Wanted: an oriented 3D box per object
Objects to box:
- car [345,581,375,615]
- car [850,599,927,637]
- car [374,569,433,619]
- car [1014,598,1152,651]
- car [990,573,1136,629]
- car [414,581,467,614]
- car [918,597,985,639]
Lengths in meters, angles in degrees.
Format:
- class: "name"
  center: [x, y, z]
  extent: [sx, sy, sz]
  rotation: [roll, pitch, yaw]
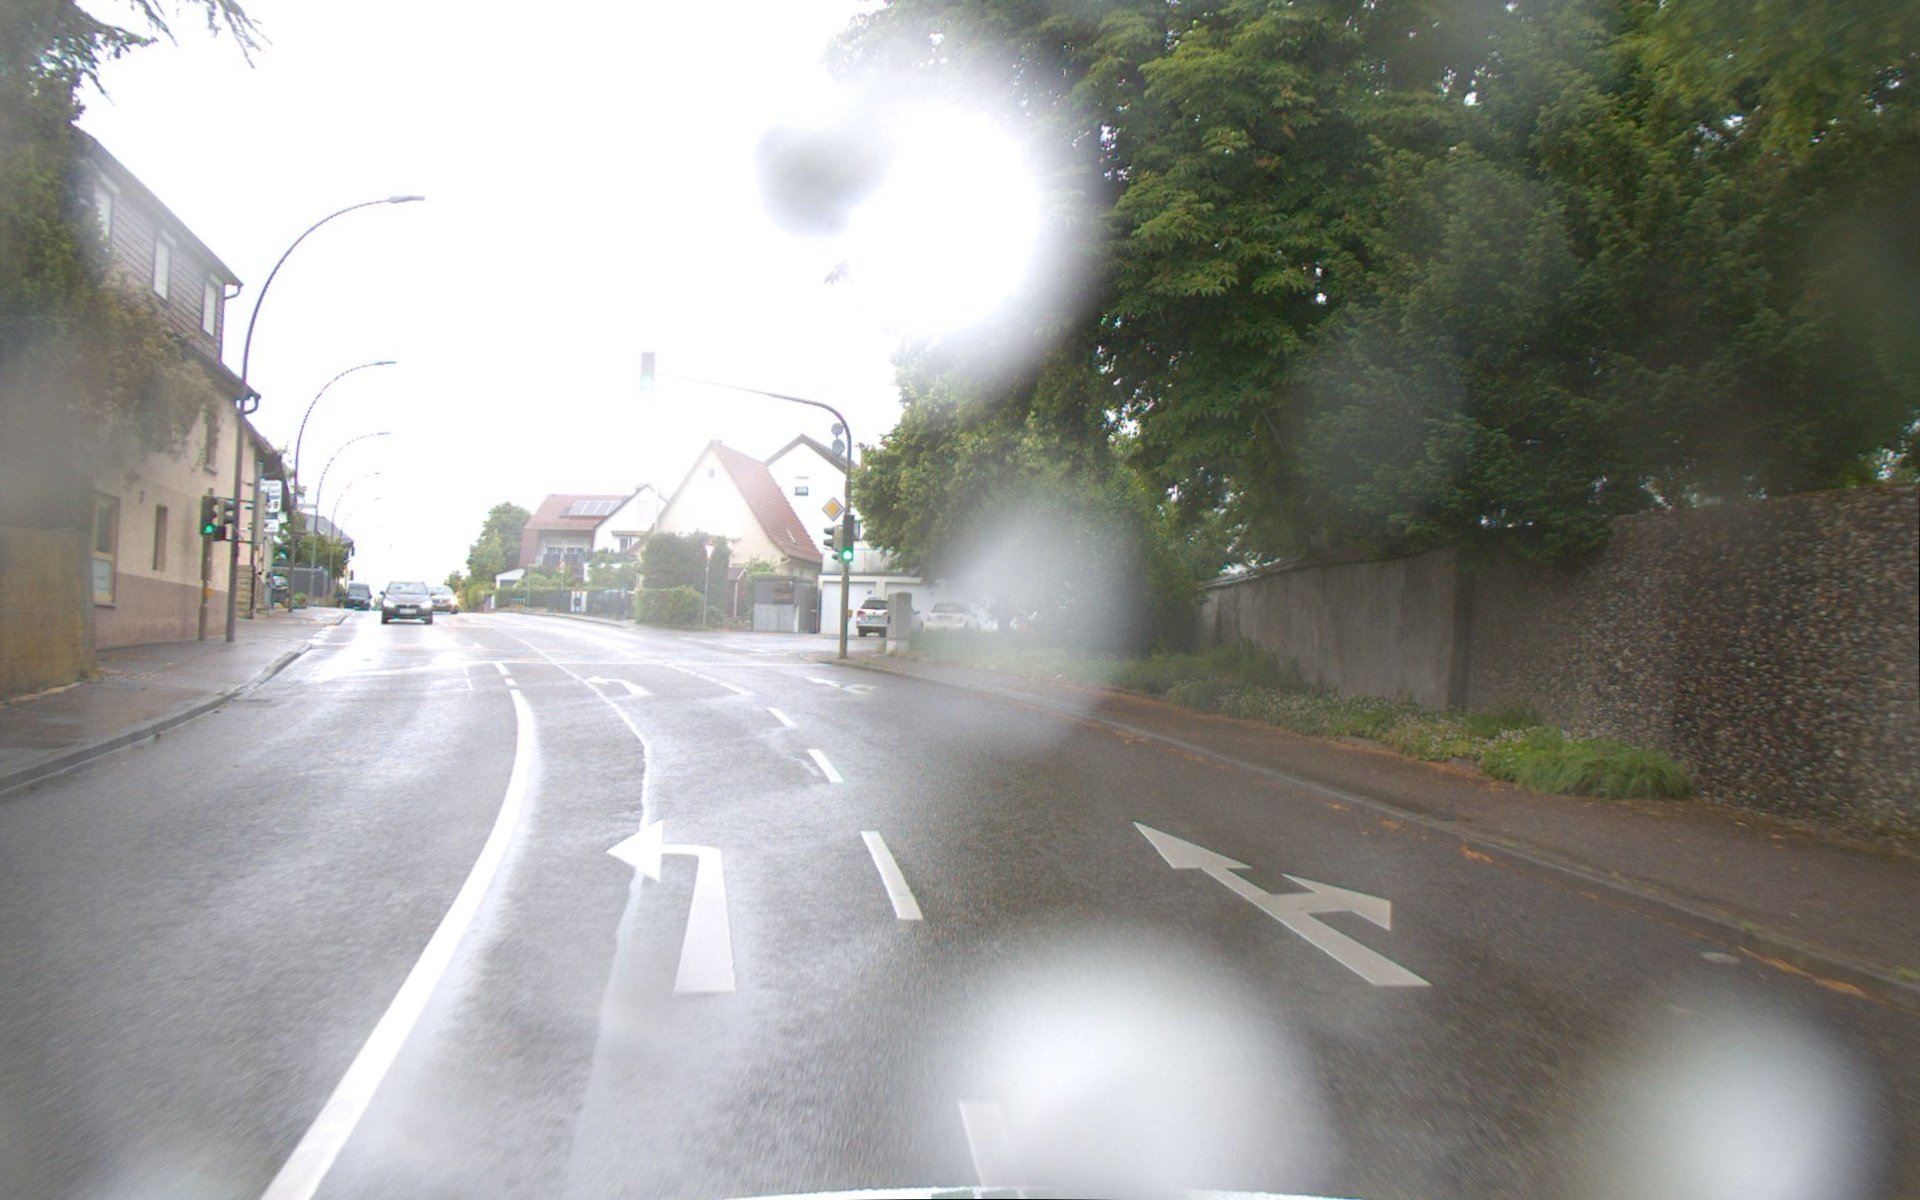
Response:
- class: "car"
  center: [-52.176, -0.146, 143.883]
  extent: [2.062, 2.696, 5.887]
  rotation: [4, -3, -18]
- class: "car"
  center: [-2.771, 0.688, 65.343]
  extent: [1.951, 1.422, 4.154]
  rotation: [1, 0, 14]
- class: "car"
  center: [-20.537, -0.226, 61.045]
  extent: [1.963, 1.735, 3.978]
  rotation: [1, 0, -19]
- class: "car"
  center: [3.873, 0.763, 52.501]
  extent: [4.095, 1.467, 1.831]
  rotation: [2, 0, -6]
- class: "car"
  center: [2.796, 0.028, 45.382]
  extent: [3.904, 1.481, 1.855]
  rotation: [1, 0, 2]
- class: "car"
  center: [-26.674, -0.131, 84.853]
  extent: [1.920, 1.601, 4.190]
  rotation: [1, 0, -26]
- class: "car"
  center: [-0.300, 0.681, 64.978]
  extent: [1.951, 1.557, 4.003]
  rotation: [1, 0, 10]
